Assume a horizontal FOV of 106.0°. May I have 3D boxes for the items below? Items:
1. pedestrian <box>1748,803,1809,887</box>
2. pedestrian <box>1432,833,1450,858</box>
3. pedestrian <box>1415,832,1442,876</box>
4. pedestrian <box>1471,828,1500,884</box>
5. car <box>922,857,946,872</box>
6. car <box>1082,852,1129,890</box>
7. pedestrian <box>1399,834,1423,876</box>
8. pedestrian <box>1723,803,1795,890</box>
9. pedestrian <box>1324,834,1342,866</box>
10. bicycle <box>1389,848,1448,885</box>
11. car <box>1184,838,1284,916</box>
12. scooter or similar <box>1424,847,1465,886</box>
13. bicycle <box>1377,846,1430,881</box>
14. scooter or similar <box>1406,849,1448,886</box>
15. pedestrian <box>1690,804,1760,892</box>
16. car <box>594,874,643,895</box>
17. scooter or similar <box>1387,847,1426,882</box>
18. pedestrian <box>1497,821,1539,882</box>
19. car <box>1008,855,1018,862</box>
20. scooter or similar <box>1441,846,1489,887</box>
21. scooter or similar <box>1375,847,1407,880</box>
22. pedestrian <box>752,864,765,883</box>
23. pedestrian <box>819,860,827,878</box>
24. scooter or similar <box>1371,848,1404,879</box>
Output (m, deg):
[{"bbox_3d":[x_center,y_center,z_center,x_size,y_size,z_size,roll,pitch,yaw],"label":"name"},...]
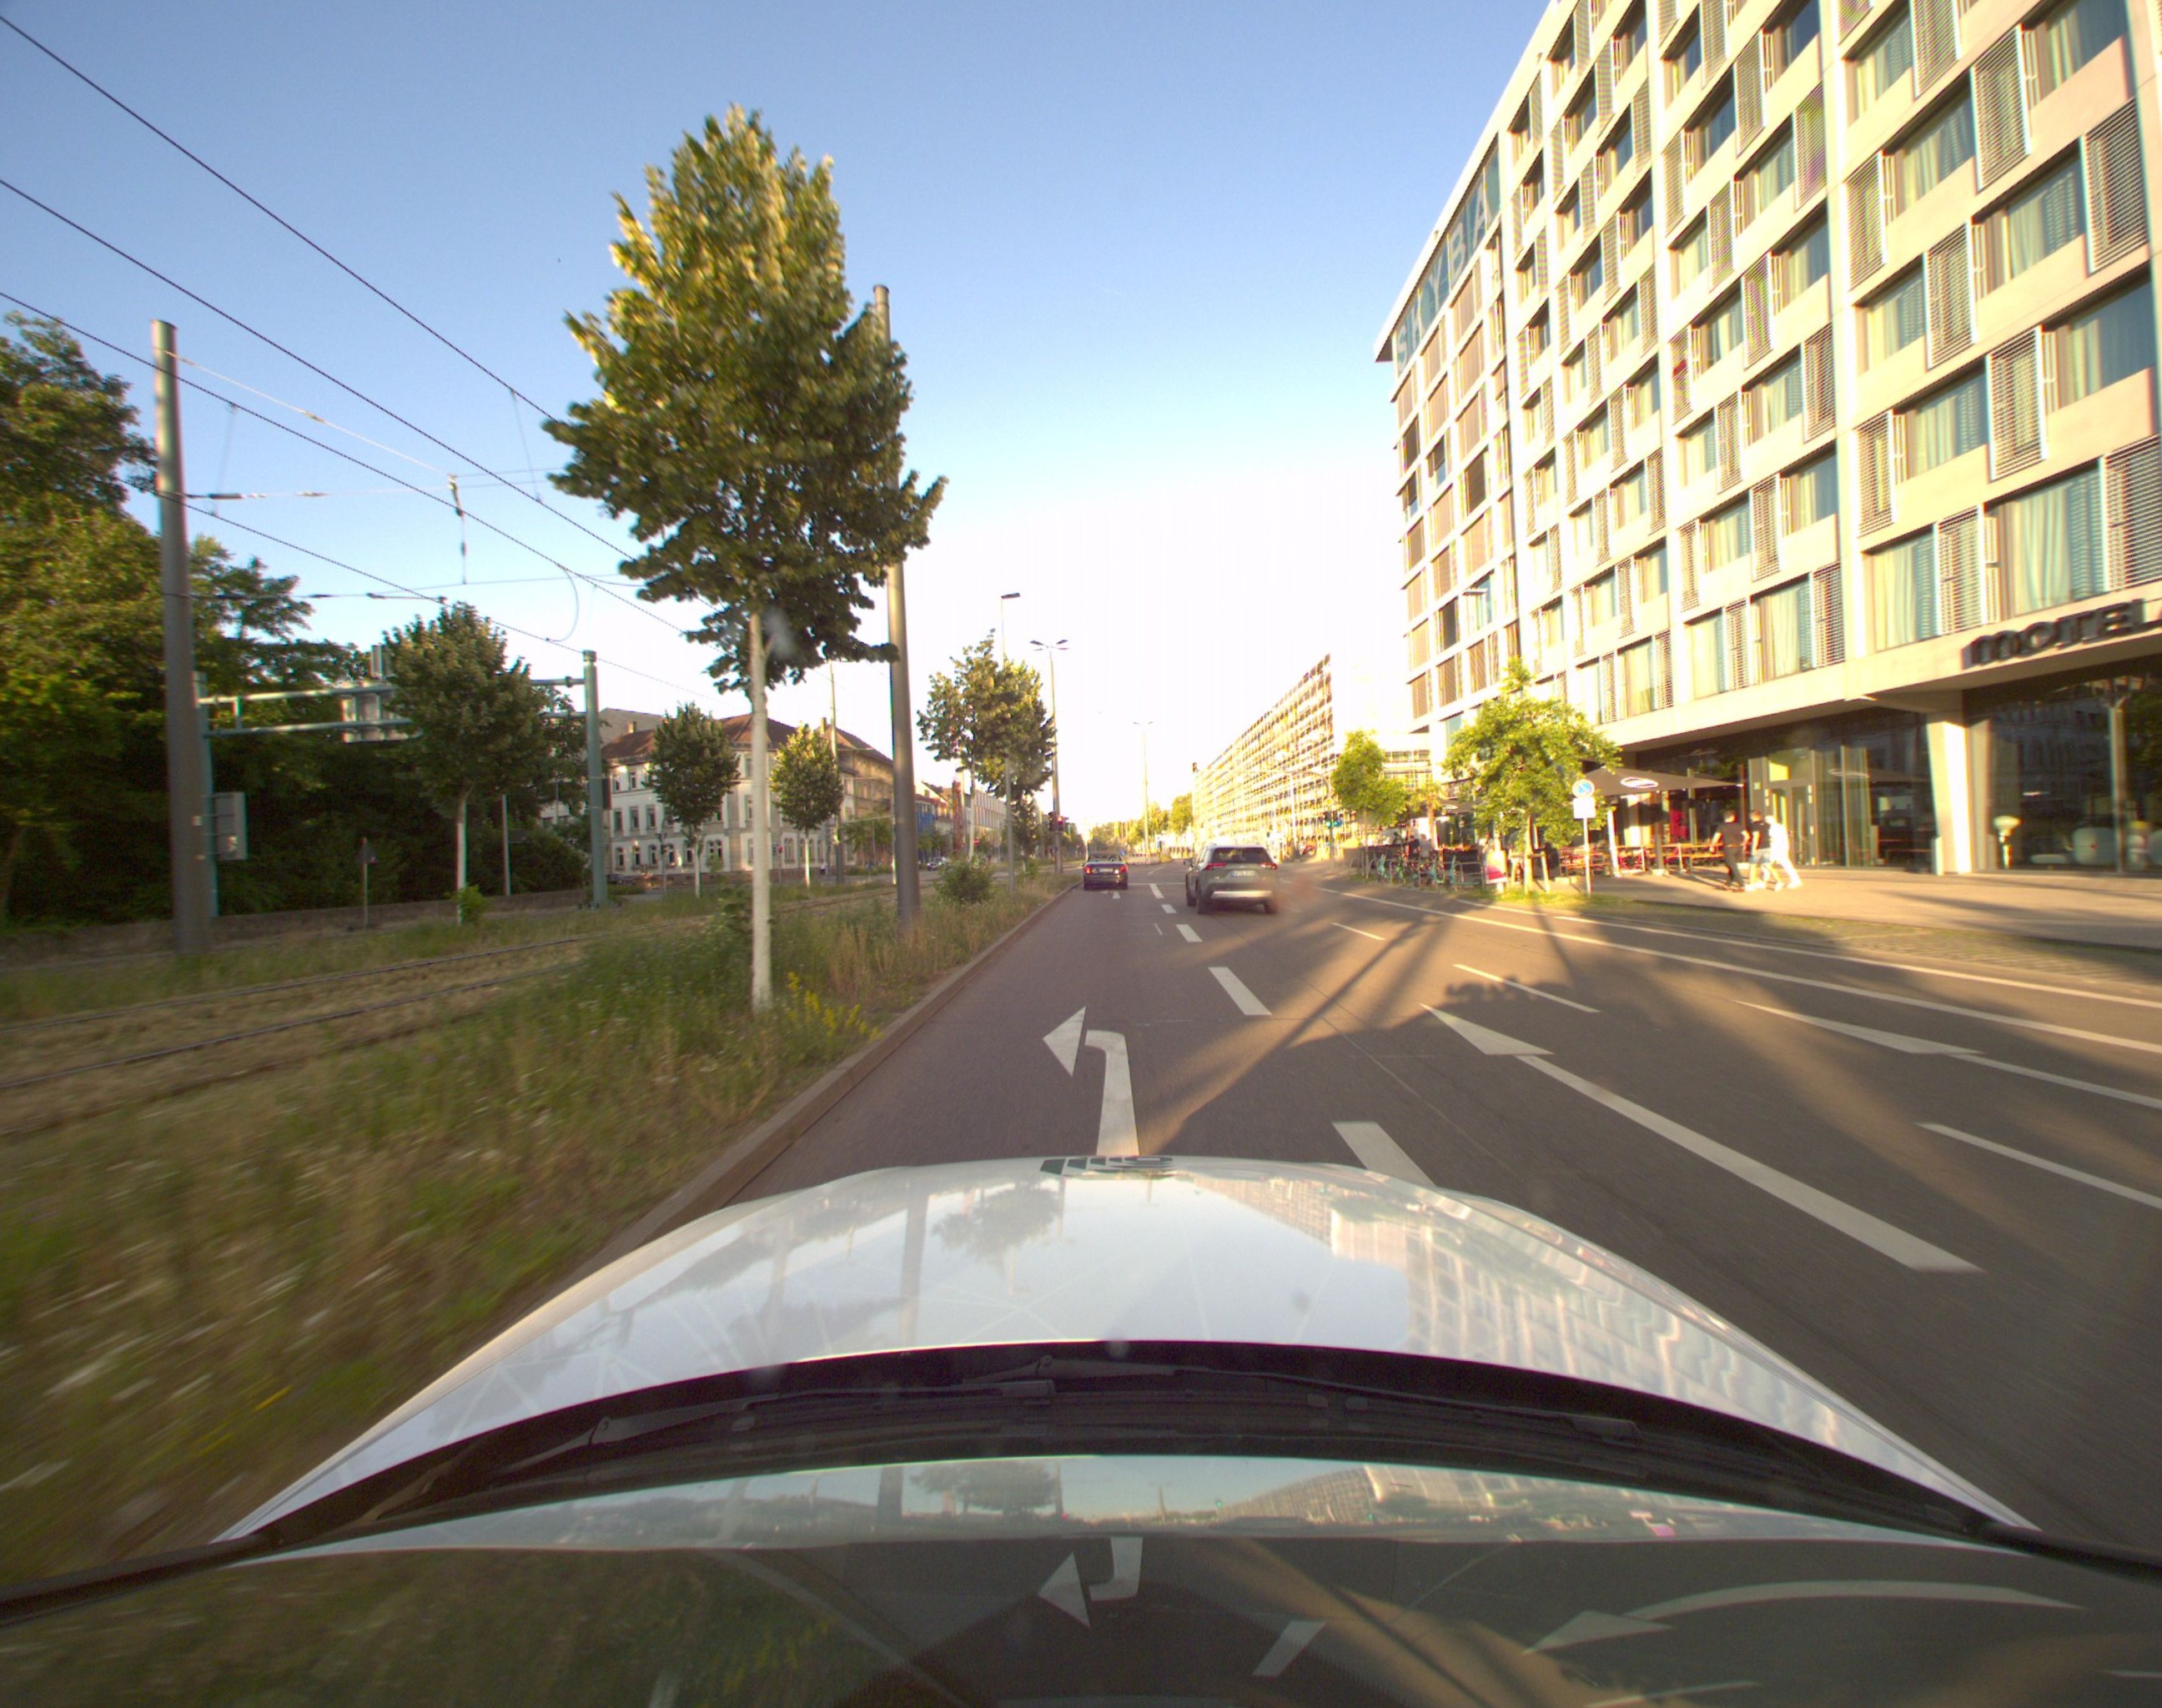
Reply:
[{"bbox_3d":[15.778,-0.198,18.449,0.615,1.811,0.779,-6,-1,11],"label":"pedestrian"},{"bbox_3d":[20.702,-0.497,46.903,0.740,1.319,0.717,-5,0,15],"label":"pedestrian"},{"bbox_3d":[14.544,-0.003,34.090,0.682,1.734,0.761,-5,0,2],"label":"pedestrian"},{"bbox_3d":[13.329,0.057,26.845,0.572,1.786,0.832,-4,-1,15],"label":"pedestrian"},{"bbox_3d":[-18.090,1.263,100.476,1.985,1.580,4.127,-4,0,3],"label":"car"},{"bbox_3d":[0.979,0.616,31.891,1.668,1.352,4.002,-1,0,2],"label":"car"},{"bbox_3d":[13.818,0.047,34.104,0.651,1.702,0.689,-4,0,2],"label":"pedestrian"},{"bbox_3d":[15.037,-0.167,18.087,0.751,1.824,0.943,-4,0,11],"label":"pedestrian"},{"bbox_3d":[15.030,-0.215,48.614,0.765,1.847,0.679,-3,0,2],"label":"pedestrian"},{"bbox_3d":[12.275,0.451,29.639,1.840,1.181,0.608,-5,0,1],"label":"bicycle"},{"bbox_3d":[3.646,0.486,20.128,1.826,1.672,4.285,-1,0,2],"label":"car"},{"bbox_3d":[12.360,0.427,27.692,1.119,1.213,0.534,-5,-2,17],"label":"scooter or similar"},{"bbox_3d":[12.449,0.367,31.448,1.789,1.193,0.567,-5,0,-3],"label":"bicycle"},{"bbox_3d":[12.092,0.463,28.476,1.151,1.191,0.510,-4,-2,3],"label":"scooter or similar"},{"bbox_3d":[14.366,-0.127,18.188,0.739,1.849,0.943,-5,-1,11],"label":"pedestrian"},{"bbox_3d":[-37.888,2.453,66.741,3.948,1.555,1.801,0,0,32],"label":"car"},{"bbox_3d":[12.356,0.394,30.910,1.206,1.201,0.479,-5,0,-3],"label":"scooter or similar"},{"bbox_3d":[14.107,-0.065,26.306,0.819,1.888,0.869,-4,-1,10],"label":"pedestrian"},{"bbox_3d":[-14.999,0.909,180.683,1.650,1.431,3.899,0,1,4],"label":"car"},{"bbox_3d":[12.320,0.394,26.137,1.280,1.218,0.539,-5,-1,26],"label":"scooter or similar"},{"bbox_3d":[12.392,0.380,32.583,1.054,1.223,0.551,-5,0,11],"label":"scooter or similar"},{"bbox_3d":[-26.081,1.588,65.837,0.601,1.458,0.937,0,0,3],"label":"pedestrian"},{"bbox_3d":[-25.502,1.510,80.501,0.703,1.715,0.808,0,0,-16],"label":"pedestrian"},{"bbox_3d":[12.699,0.390,33.754,1.049,1.223,0.598,-4,0,-2],"label":"scooter or similar"}]
